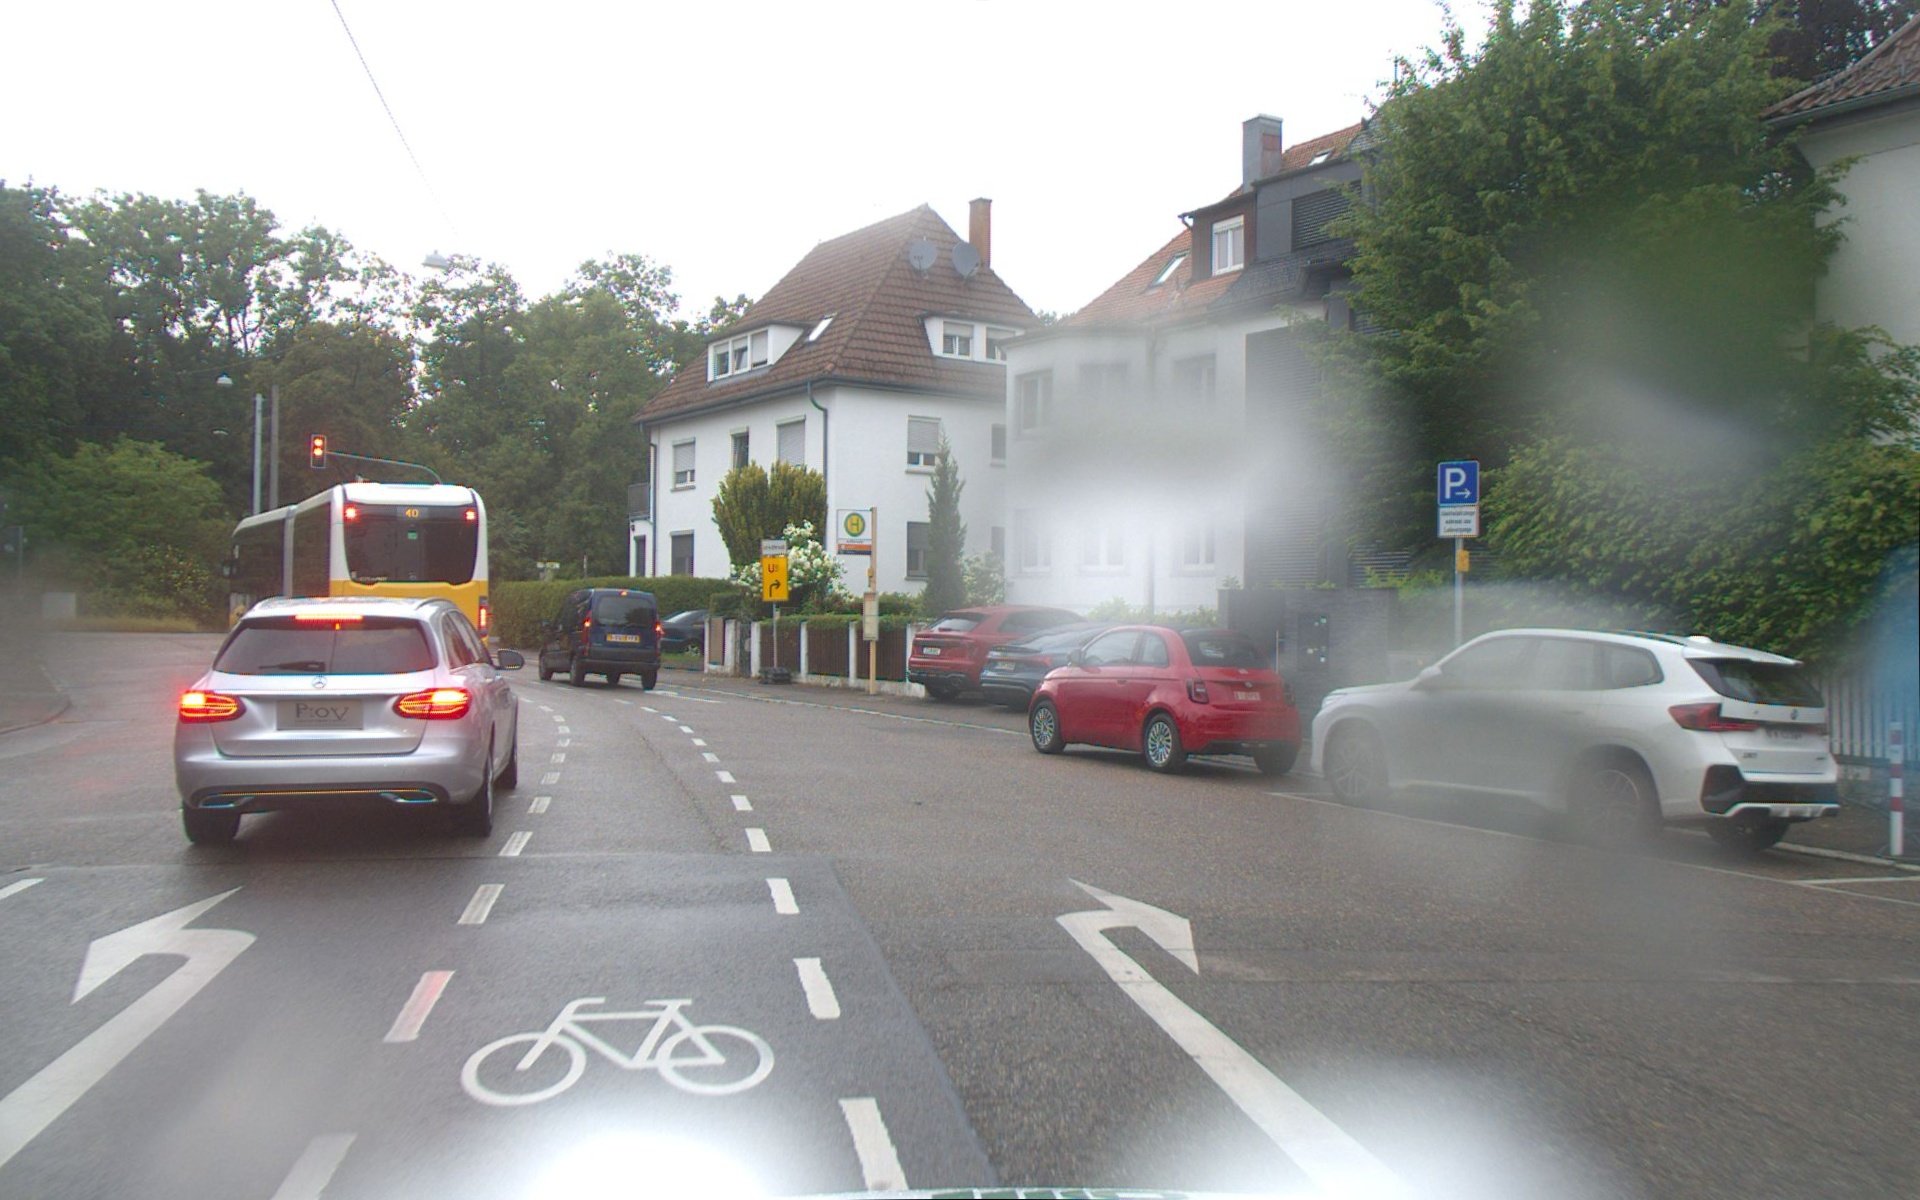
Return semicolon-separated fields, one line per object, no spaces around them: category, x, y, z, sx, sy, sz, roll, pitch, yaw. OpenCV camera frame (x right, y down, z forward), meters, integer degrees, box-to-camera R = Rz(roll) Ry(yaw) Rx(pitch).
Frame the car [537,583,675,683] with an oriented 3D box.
car;-7.023;0.637;32.541;1.786;1.829;3.967;1;-1;-25

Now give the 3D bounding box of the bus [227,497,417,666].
bus;-14.972;-0.411;38.344;2.868;3.458;8.952;1;0;-29

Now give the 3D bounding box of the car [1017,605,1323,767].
car;2.231;0.892;18.374;1.593;1.564;3.507;3;-1;-29

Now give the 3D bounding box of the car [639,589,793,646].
car;-6.476;0.462;43.978;3.707;1.412;1.599;1;2;-33

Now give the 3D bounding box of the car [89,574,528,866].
car;-3.986;0.597;10.931;1.958;1.505;4.473;1;1;-12

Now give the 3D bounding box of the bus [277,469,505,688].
bus;-10.726;-0.370;30.533;2.646;3.458;8.600;1;0;-28

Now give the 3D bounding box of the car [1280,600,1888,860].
car;4.886;0.919;13.675;1.727;1.702;4.597;3;-1;-31

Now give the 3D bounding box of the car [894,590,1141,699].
car;1.039;0.720;29.251;4.041;1.781;1.975;0;1;-36

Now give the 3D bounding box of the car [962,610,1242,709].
car;2.411;0.924;27.433;4.514;1.441;1.974;0;1;-38
